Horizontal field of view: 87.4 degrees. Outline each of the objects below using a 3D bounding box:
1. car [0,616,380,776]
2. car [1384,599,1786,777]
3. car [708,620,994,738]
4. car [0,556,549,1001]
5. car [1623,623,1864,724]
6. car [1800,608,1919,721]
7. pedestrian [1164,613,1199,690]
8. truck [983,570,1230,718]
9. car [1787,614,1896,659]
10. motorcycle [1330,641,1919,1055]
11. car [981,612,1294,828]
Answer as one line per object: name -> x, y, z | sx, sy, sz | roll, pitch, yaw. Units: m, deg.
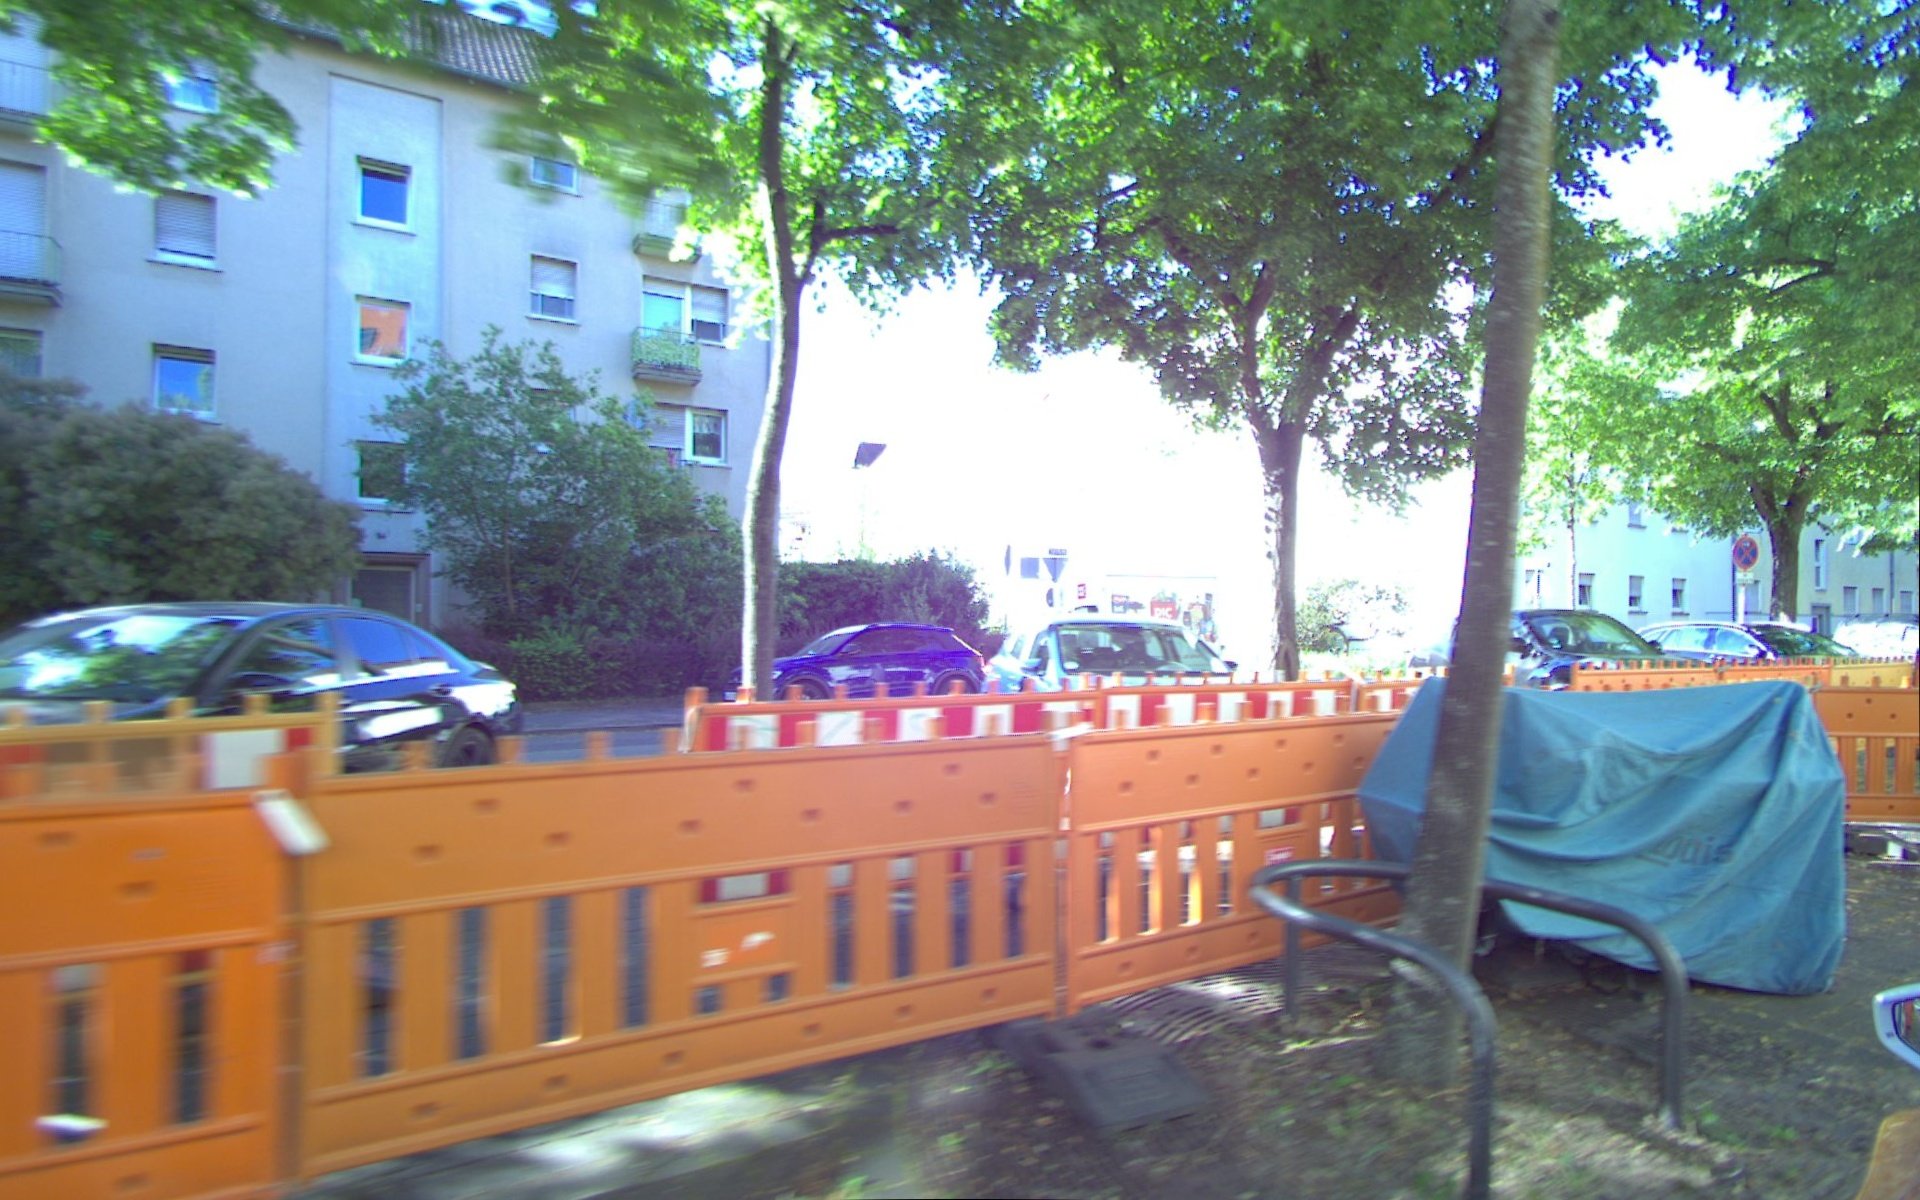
car -> -8.880, 0.988, 11.277 | 4.065, 1.579, 1.711 | 1, -2, -30
car -> 6.739, 0.886, 11.462 | 1.667, 1.647, 4.129 | 0, -2, -7
car -> -1.633, 1.133, 15.613 | 4.147, 1.595, 1.612 | 1, 0, -32
car -> -4.008, 0.682, 5.520 | 1.637, 1.539, 4.002 | 0, -2, 4
car -> 12.472, 1.120, 16.188 | 1.223, 1.472, 2.949 | 0, -2, -13
car -> 17.711, 1.140, 18.277 | 1.959, 1.940, 4.387 | 0, -1, 13
pedestrian -> 5.372, 1.233, 24.380 | 0.657, 1.847, 0.583 | 1, -1, -9
truck -> 2.710, 0.790, 18.473 | 4.211, 2.441, 1.914 | 1, -2, -28
car -> 30.127, 1.239, 34.305 | 4.037, 1.455, 1.740 | 1, -3, -33
motorcycle -> 2.602, 0.859, 3.918 | 2.192, 1.342, 0.631 | 1, 0, -15
car -> 1.298, 0.876, 8.926 | 1.549, 1.480, 3.907 | 0, -1, -9
